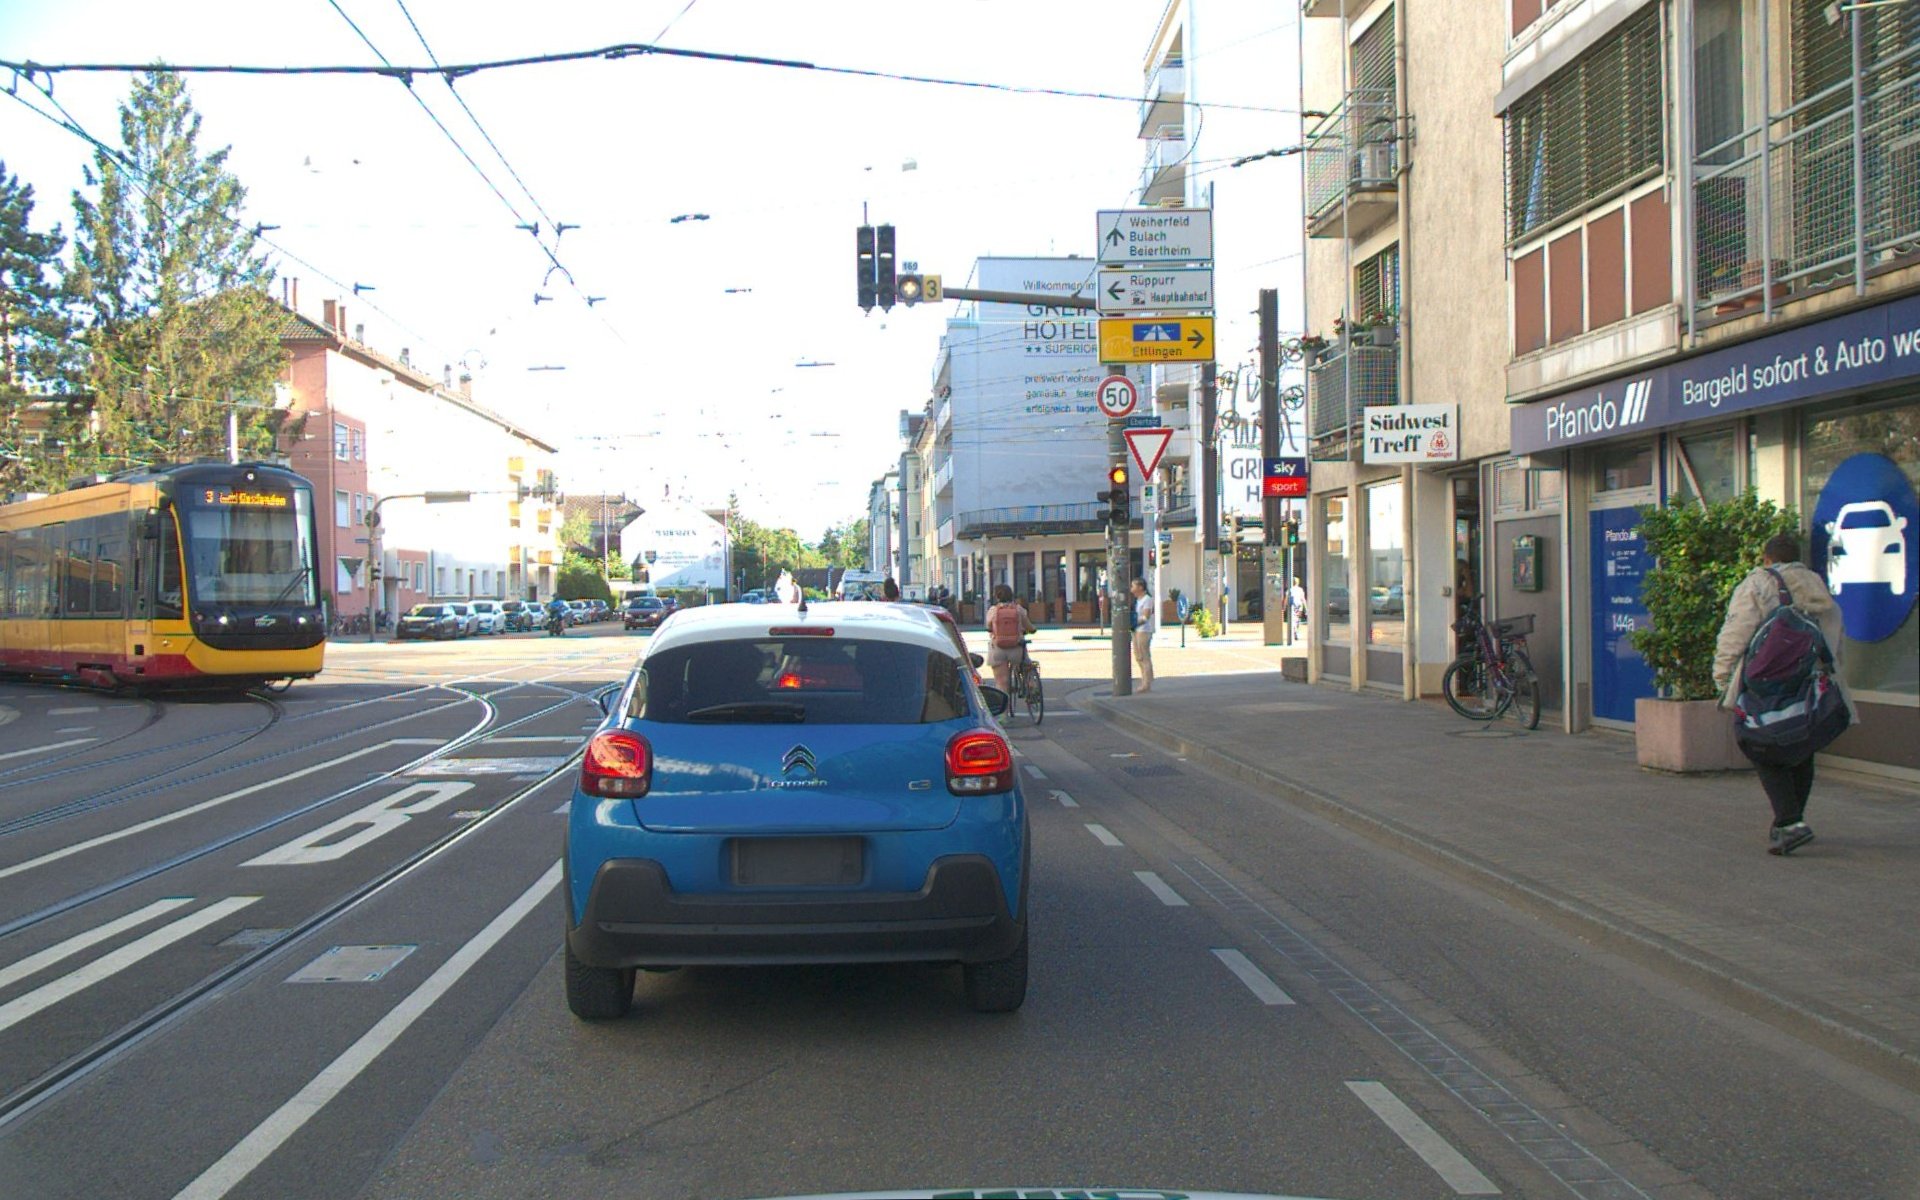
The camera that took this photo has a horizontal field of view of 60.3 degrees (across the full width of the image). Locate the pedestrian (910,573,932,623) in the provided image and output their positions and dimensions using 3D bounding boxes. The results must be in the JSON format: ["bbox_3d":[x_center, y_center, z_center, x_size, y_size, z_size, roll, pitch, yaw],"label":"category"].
[{"bbox_3d":[-1.630,-0.075,69.098,0.625,2.049,0.715,1,-1,-37],"label":"pedestrian"}]

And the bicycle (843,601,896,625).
[{"bbox_3d":[-3.608,0.533,66.150,2.093,0.917,0.366,1,-1,-10],"label":"bicycle"}]

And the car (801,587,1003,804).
[{"bbox_3d":[-0.430,0.680,13.103,1.395,1.493,2.923,-1,0,-1],"label":"car"}]

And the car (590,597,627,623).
[{"bbox_3d":[-23.582,0.679,111.068,1.845,1.716,3.997,1,0,-4],"label":"car"}]

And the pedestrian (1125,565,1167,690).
[{"bbox_3d":[2.743,0.401,24.383,0.507,1.814,0.595,1,-1,-3],"label":"pedestrian"}]

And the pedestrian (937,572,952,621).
[{"bbox_3d":[-0.661,-0.152,70.015,0.565,2.049,0.625,1,-1,-3],"label":"pedestrian"}]

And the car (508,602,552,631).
[{"bbox_3d":[-23.810,0.912,91.684,1.699,1.524,3.996,1,0,-5],"label":"car"}]

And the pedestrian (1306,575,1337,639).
[{"bbox_3d":[9.669,0.182,44.278,0.736,1.686,0.884,1,-1,10],"label":"pedestrian"}]

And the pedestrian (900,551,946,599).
[{"bbox_3d":[-1.609,-1.075,73.519,1.953,2.049,3.999,1,0,-1],"label":"pedestrian"}]

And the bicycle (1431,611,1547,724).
[{"bbox_3d":[5.037,0.617,15.846,0.531,1.016,1.705,1,0,-1],"label":"bicycle"}]

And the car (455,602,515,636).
[{"bbox_3d":[-22.647,0.879,78.958,1.751,1.537,4.148,1,0,-2],"label":"car"}]

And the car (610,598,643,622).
[{"bbox_3d":[-24.360,0.707,120.872,1.809,1.716,3.871,1,0,-4],"label":"car"}]

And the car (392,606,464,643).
[{"bbox_3d":[-21.974,1.005,68.461,1.757,1.446,3.994,1,0,-2],"label":"car"}]

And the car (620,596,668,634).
[{"bbox_3d":[-14.535,0.689,76.175,1.740,1.695,3.853,1,0,-4],"label":"car"}]

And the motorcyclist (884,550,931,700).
[{"bbox_3d":[-0.619,0.293,19.601,0.516,1.746,0.717,1,-1,-1],"label":"motorcyclist"}]

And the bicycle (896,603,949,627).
[{"bbox_3d":[-1.526,0.617,67.512,2.093,0.917,0.366,1,-1,-10],"label":"bicycle"}]

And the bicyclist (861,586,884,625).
[{"bbox_3d":[-3.386,0.210,63.966,0.730,1.503,0.563,1,-1,21],"label":"bicyclist"}]

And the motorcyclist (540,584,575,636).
[{"bbox_3d":[-16.327,0.389,67.109,1.162,2.049,1.274,-1,0,-4],"label":"motorcyclist"}]

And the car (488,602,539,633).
[{"bbox_3d":[-23.096,0.904,85.687,1.750,1.524,3.997,1,0,-4],"label":"car"}]

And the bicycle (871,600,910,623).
[{"bbox_3d":[-2.905,0.485,69.336,1.751,0.917,0.365,1,-1,34],"label":"bicycle"}]

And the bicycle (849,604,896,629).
[{"bbox_3d":[-3.368,0.631,63.956,1.815,0.919,0.350,1,-1,21],"label":"bicycle"}]

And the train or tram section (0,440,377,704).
[{"bbox_3d":[-14.205,-0.383,28.530,3.048,3.656,12.429,-2,1,-43],"label":"train or tram section"}]

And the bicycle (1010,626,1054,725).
[{"bbox_3d":[0.877,0.910,20.521,0.419,1.142,1.998,1,0,-1],"label":"bicycle"}]

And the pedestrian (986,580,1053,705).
[{"bbox_3d":[0.716,0.508,20.216,0.761,1.486,0.681,1,-1,-1],"label":"pedestrian"}]

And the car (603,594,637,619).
[{"bbox_3d":[-23.885,0.450,116.292,1.797,1.716,3.997,1,0,-4],"label":"car"}]

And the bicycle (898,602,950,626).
[{"bbox_3d":[-1.455,0.576,67.105,2.093,0.917,0.366,1,-1,-10],"label":"bicycle"}]

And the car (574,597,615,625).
[{"bbox_3d":[-23.393,0.695,105.962,1.944,1.716,3.997,1,0,-4],"label":"car"}]

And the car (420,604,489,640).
[{"bbox_3d":[-22.258,0.949,72.951,1.778,1.524,4.299,1,0,-1],"label":"car"}]

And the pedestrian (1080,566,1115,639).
[{"bbox_3d":[3.900,0.077,46.962,0.907,2.049,0.759,1,-1,-1],"label":"pedestrian"}]

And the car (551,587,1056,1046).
[{"bbox_3d":[-0.532,0.714,7.153,1.620,1.469,3.522,1,0,-1],"label":"car"}]

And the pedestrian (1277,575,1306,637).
[{"bbox_3d":[8.801,0.161,43.842,0.720,1.629,0.749,1,-1,12],"label":"pedestrian"}]

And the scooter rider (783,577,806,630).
[{"bbox_3d":[-5.896,0.113,58.878,0.707,1.864,0.717,-1,0,-2],"label":"scooter rider"}]

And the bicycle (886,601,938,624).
[{"bbox_3d":[-1.970,0.510,68.277,2.093,0.917,0.366,1,-1,-10],"label":"bicycle"}]

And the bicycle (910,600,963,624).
[{"bbox_3d":[-0.929,0.493,65.925,2.093,0.917,0.366,1,-1,-10],"label":"bicycle"}]

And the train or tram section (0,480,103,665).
[{"bbox_3d":[-22.703,-0.607,35.637,8.878,3.694,2.831,1,0,27],"label":"train or tram section"}]

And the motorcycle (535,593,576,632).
[{"bbox_3d":[-16.328,0.497,66.853,0.905,1.512,3.723,1,0,-4],"label":"motorcycle"}]

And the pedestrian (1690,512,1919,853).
[{"bbox_3d":[4.247,0.397,8.306,0.808,1.620,0.751,1,-1,-1],"label":"pedestrian"}]

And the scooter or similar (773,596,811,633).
[{"bbox_3d":[-5.972,0.505,58.882,1.323,1.291,0.443,-1,0,-2],"label":"scooter or similar"}]
